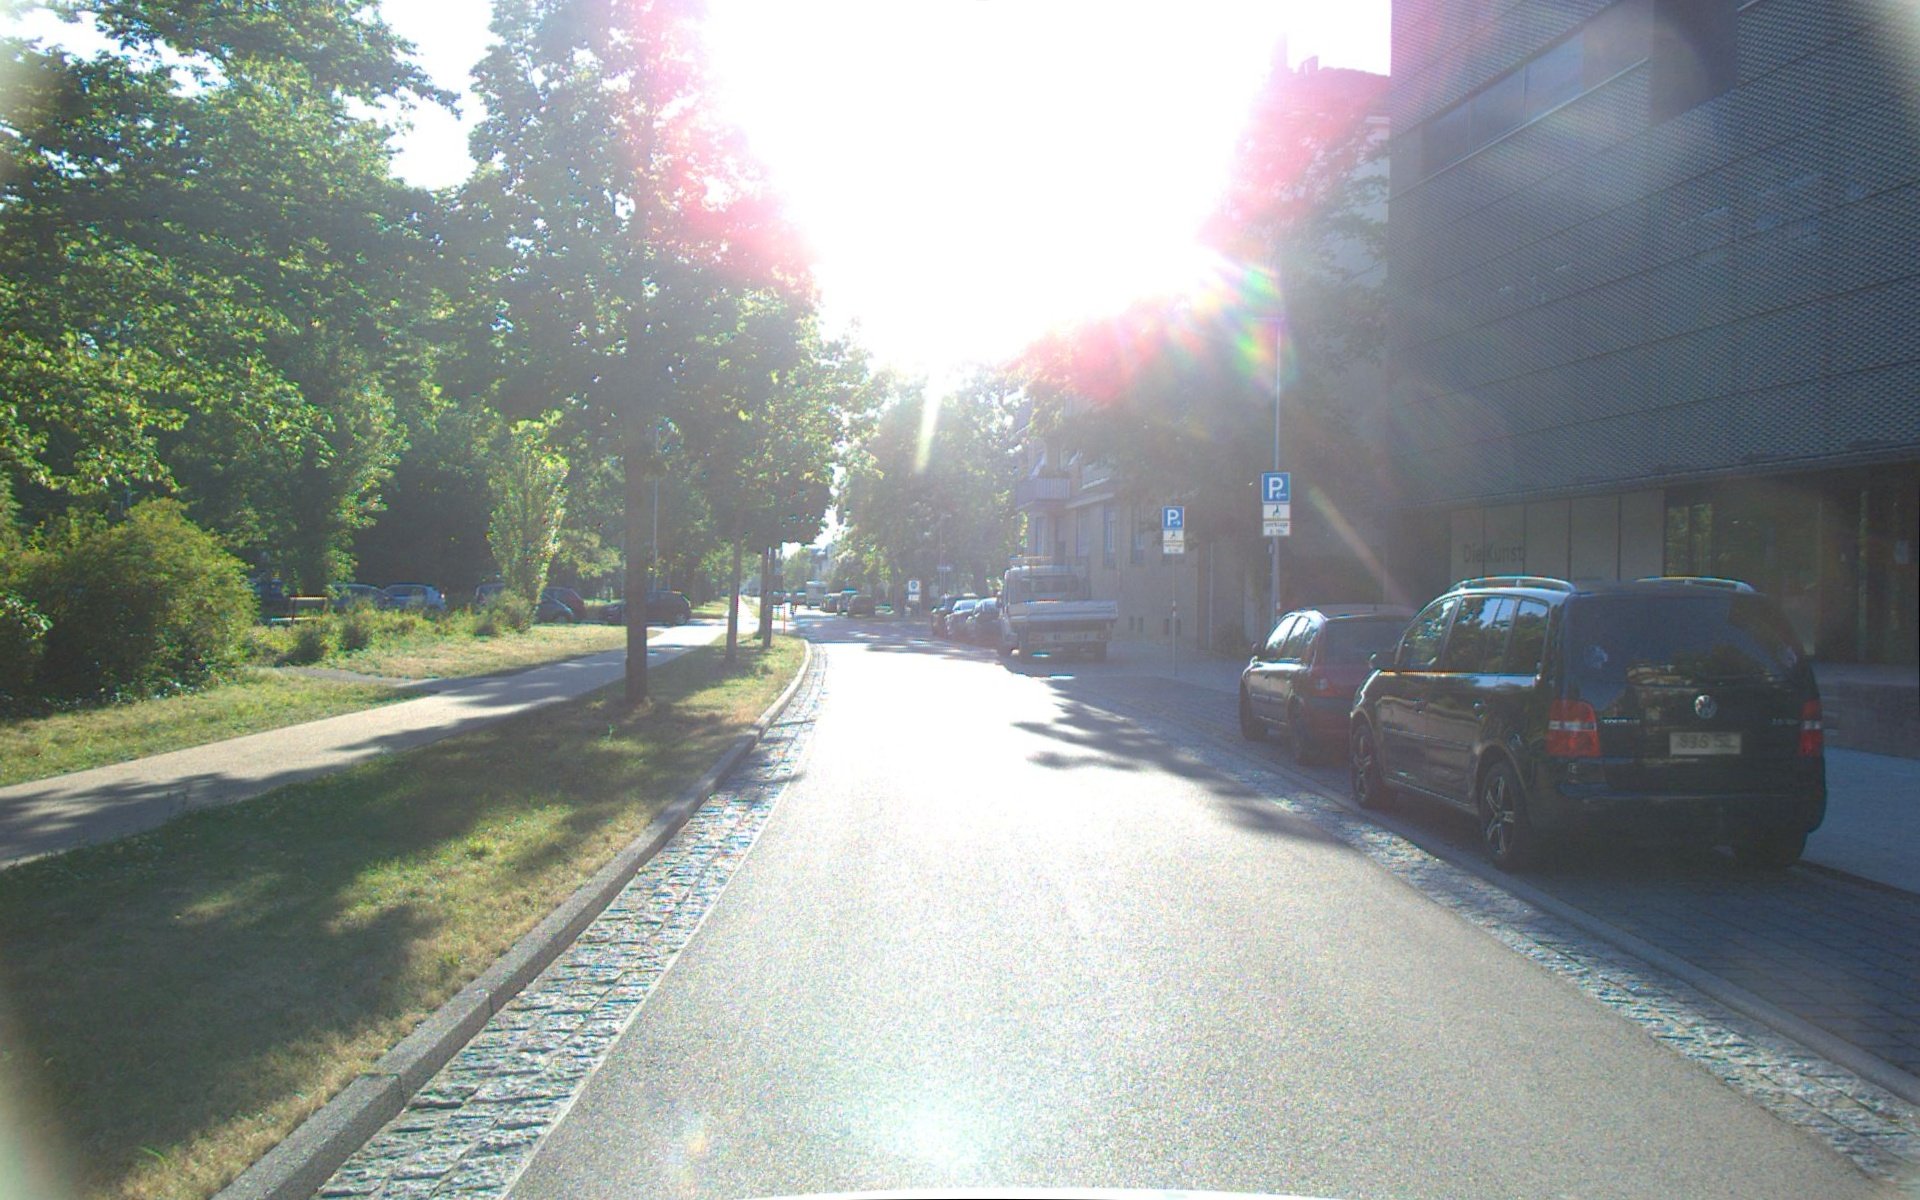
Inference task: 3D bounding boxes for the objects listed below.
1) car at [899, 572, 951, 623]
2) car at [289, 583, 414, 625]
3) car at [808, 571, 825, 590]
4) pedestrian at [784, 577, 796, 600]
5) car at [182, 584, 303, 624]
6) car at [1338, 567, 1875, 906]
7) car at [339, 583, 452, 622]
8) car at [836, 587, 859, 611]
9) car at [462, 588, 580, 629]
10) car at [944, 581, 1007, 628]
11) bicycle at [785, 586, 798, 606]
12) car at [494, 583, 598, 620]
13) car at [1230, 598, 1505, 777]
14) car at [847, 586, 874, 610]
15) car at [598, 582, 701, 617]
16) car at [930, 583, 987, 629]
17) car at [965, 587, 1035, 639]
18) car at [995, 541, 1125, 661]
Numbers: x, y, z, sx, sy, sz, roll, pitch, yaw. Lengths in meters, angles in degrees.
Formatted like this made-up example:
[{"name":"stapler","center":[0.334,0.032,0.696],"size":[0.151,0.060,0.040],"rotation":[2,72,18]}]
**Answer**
[{"name":"car","center":[-1.474,-0.118,68.980],"size":[1.788,2.049,3.599],"rotation":[0,1,-7]},{"name":"car","center":[-21.516,0.121,58.543],"size":[3.945,1.445,1.754],"rotation":[0,1,-30]},{"name":"car","center":[-15.624,-2.129,180.192],"size":[1.759,2.034,3.996],"rotation":[0,1,-5]},{"name":"pedestrian","center":[-10.963,-0.737,106.709],"size":[0.674,1.459,1.024],"rotation":[0,1,-2]},{"name":"car","center":[-26.867,0.148,61.972],"size":[3.950,1.445,1.752],"rotation":[0,1,-33]},{"name":"car","center":[3.869,0.671,10.720],"size":[1.690,1.698,4.112],"rotation":[-2,1,-3]},{"name":"car","center":[-22.153,0.070,64.941],"size":[3.950,1.445,1.752],"rotation":[0,1,-33]},{"name":"car","center":[-8.719,-0.108,128.122],"size":[1.759,1.754,3.996],"rotation":[0,1,-5]},{"name":"car","center":[-16.299,0.308,61.409],"size":[3.948,1.445,1.753],"rotation":[0,1,-32]},{"name":"car","center":[0.485,0.134,56.142],"size":[1.658,1.465,4.098],"rotation":[-1,1,-7]},{"name":"bicycle","center":[-10.885,-0.283,106.689],"size":[0.674,1.223,2.342],"rotation":[0,1,-2]},{"name":"car","center":[-17.006,0.032,68.002],"size":[3.870,1.445,1.755],"rotation":[0,1,-29]},{"name":"car","center":[3.894,0.762,16.468],"size":[1.689,1.446,3.906],"rotation":[-1,1,-1]},{"name":"car","center":[-6.833,-0.162,114.242],"size":[1.758,1.536,3.999],"rotation":[0,1,-2]},{"name":"car","center":[-13.165,-0.030,70.230],"size":[3.950,1.445,1.752],"rotation":[0,1,-33]},{"name":"car","center":[-0.098,0.184,62.140],"size":[1.658,1.592,4.098],"rotation":[-1,1,-7]},{"name":"car","center":[1.192,0.368,50.867],"size":[1.658,1.465,3.546],"rotation":[-1,1,-7]},{"name":"car","center":[2.278,-0.055,39.629],"size":[2.168,2.574,6.142],"rotation":[-2,1,-5]}]
